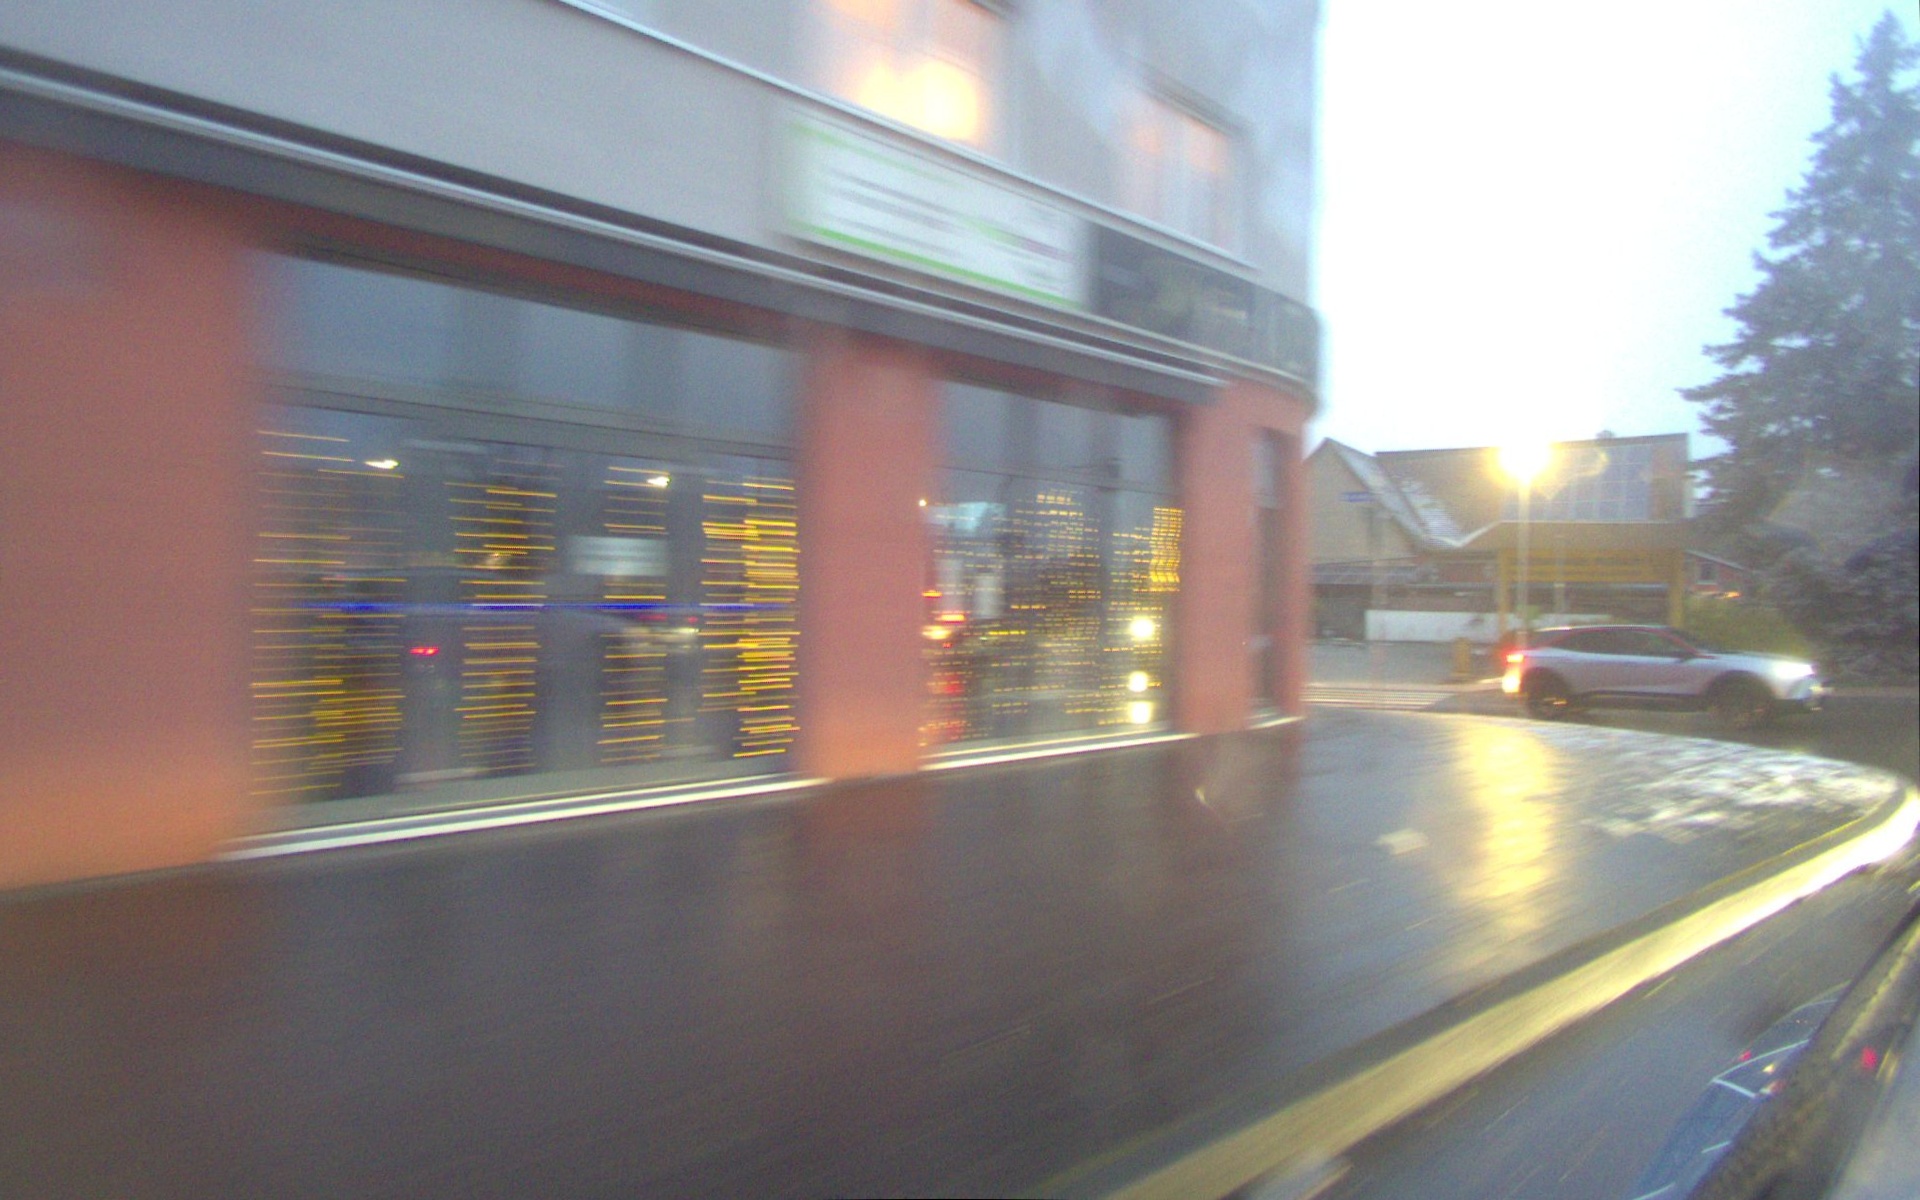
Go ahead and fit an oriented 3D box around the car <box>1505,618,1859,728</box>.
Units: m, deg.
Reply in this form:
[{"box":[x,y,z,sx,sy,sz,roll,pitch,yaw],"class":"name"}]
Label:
[{"box":[10.992,1.041,15.649,1.766,1.460,4.175,2,-3,-42],"class":"car"}]
